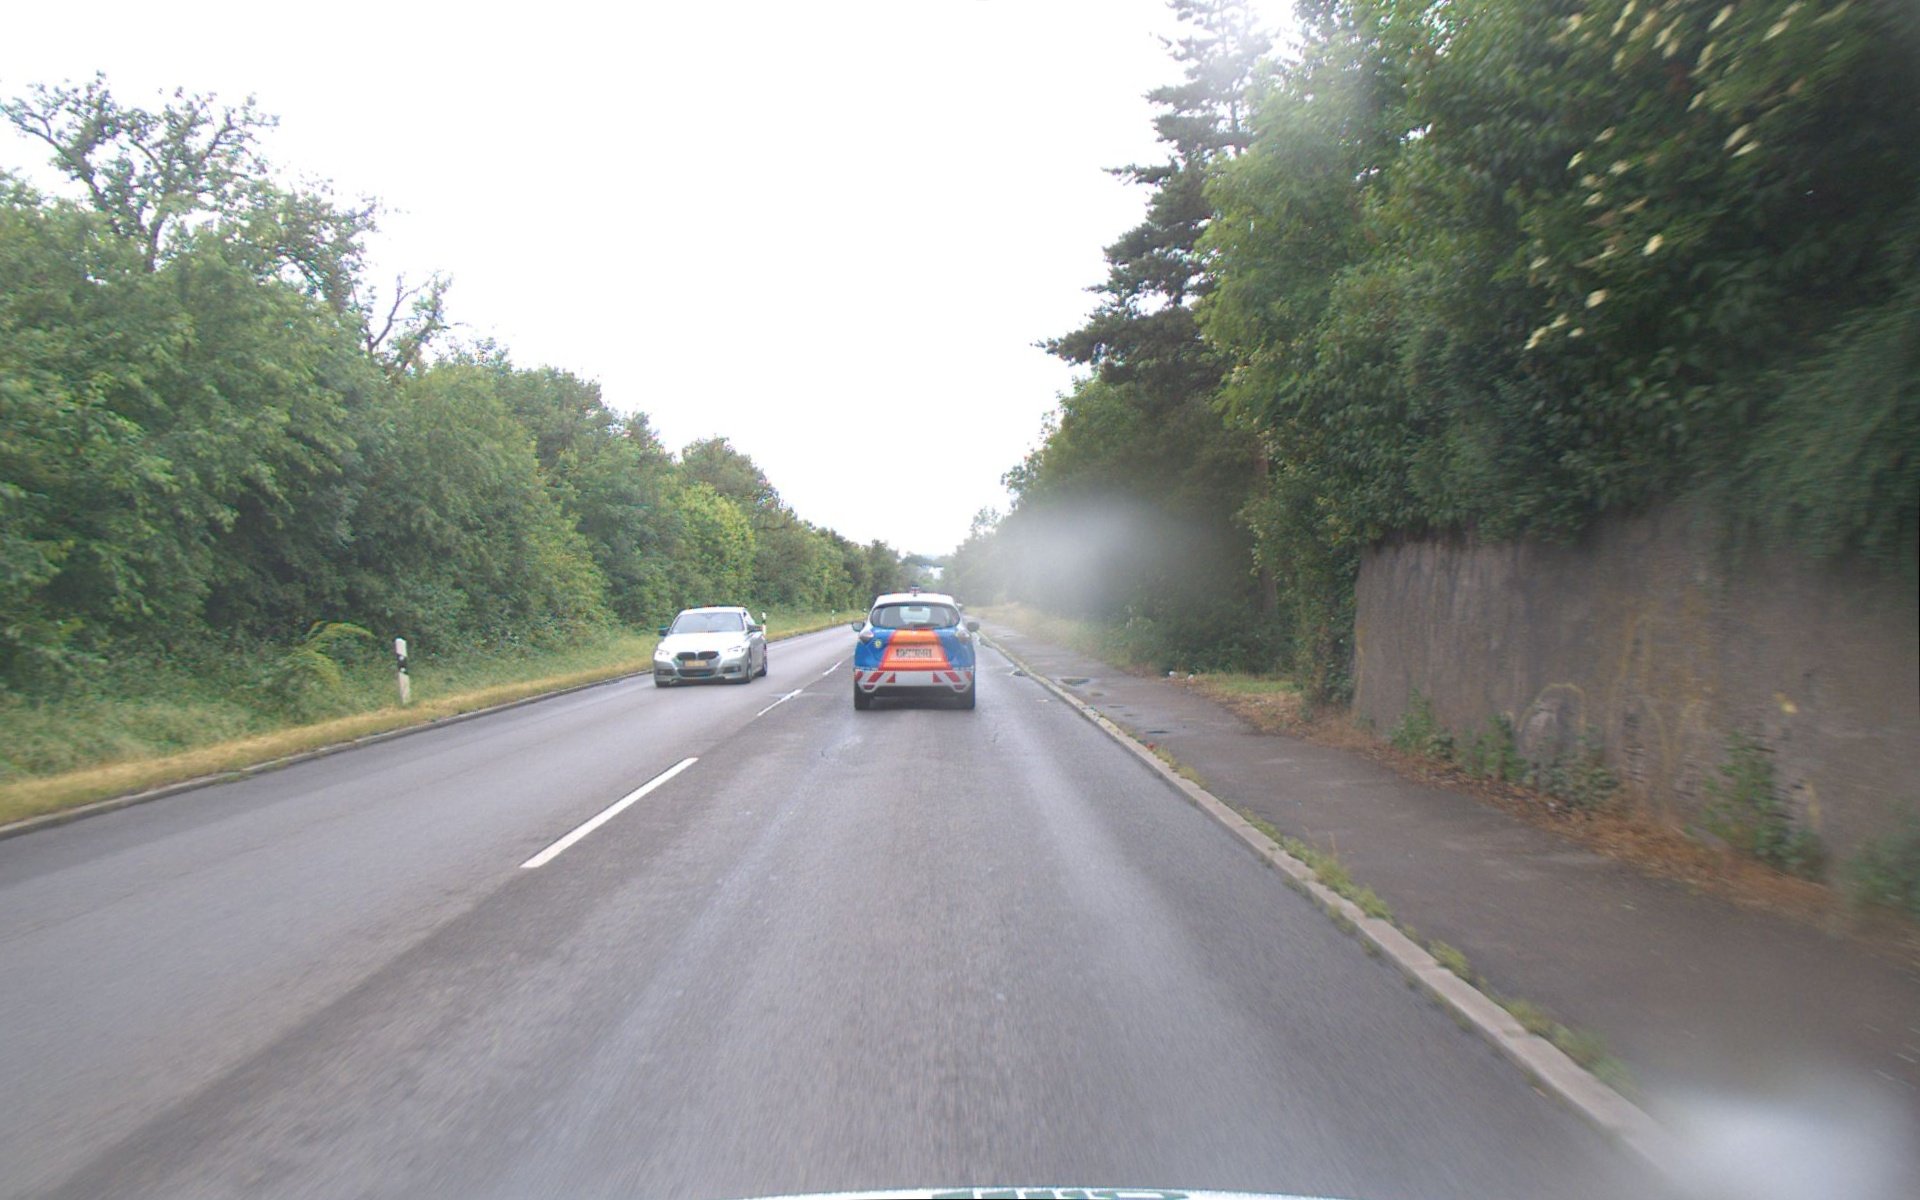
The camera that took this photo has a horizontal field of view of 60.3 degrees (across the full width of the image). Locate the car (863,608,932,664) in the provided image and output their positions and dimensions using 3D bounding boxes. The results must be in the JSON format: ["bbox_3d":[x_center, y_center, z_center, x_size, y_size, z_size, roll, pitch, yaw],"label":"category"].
[{"bbox_3d":[-1.557,0.892,42.137,1.566,1.309,3.476,-2,0,0],"label":"car"}]

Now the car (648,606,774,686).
[{"bbox_3d":[-4.708,0.830,31.833,1.853,1.378,4.380,-1,0,-2],"label":"car"}]

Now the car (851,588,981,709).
[{"bbox_3d":[-0.613,0.626,23.867,1.716,1.583,3.792,0,1,-1],"label":"car"}]
